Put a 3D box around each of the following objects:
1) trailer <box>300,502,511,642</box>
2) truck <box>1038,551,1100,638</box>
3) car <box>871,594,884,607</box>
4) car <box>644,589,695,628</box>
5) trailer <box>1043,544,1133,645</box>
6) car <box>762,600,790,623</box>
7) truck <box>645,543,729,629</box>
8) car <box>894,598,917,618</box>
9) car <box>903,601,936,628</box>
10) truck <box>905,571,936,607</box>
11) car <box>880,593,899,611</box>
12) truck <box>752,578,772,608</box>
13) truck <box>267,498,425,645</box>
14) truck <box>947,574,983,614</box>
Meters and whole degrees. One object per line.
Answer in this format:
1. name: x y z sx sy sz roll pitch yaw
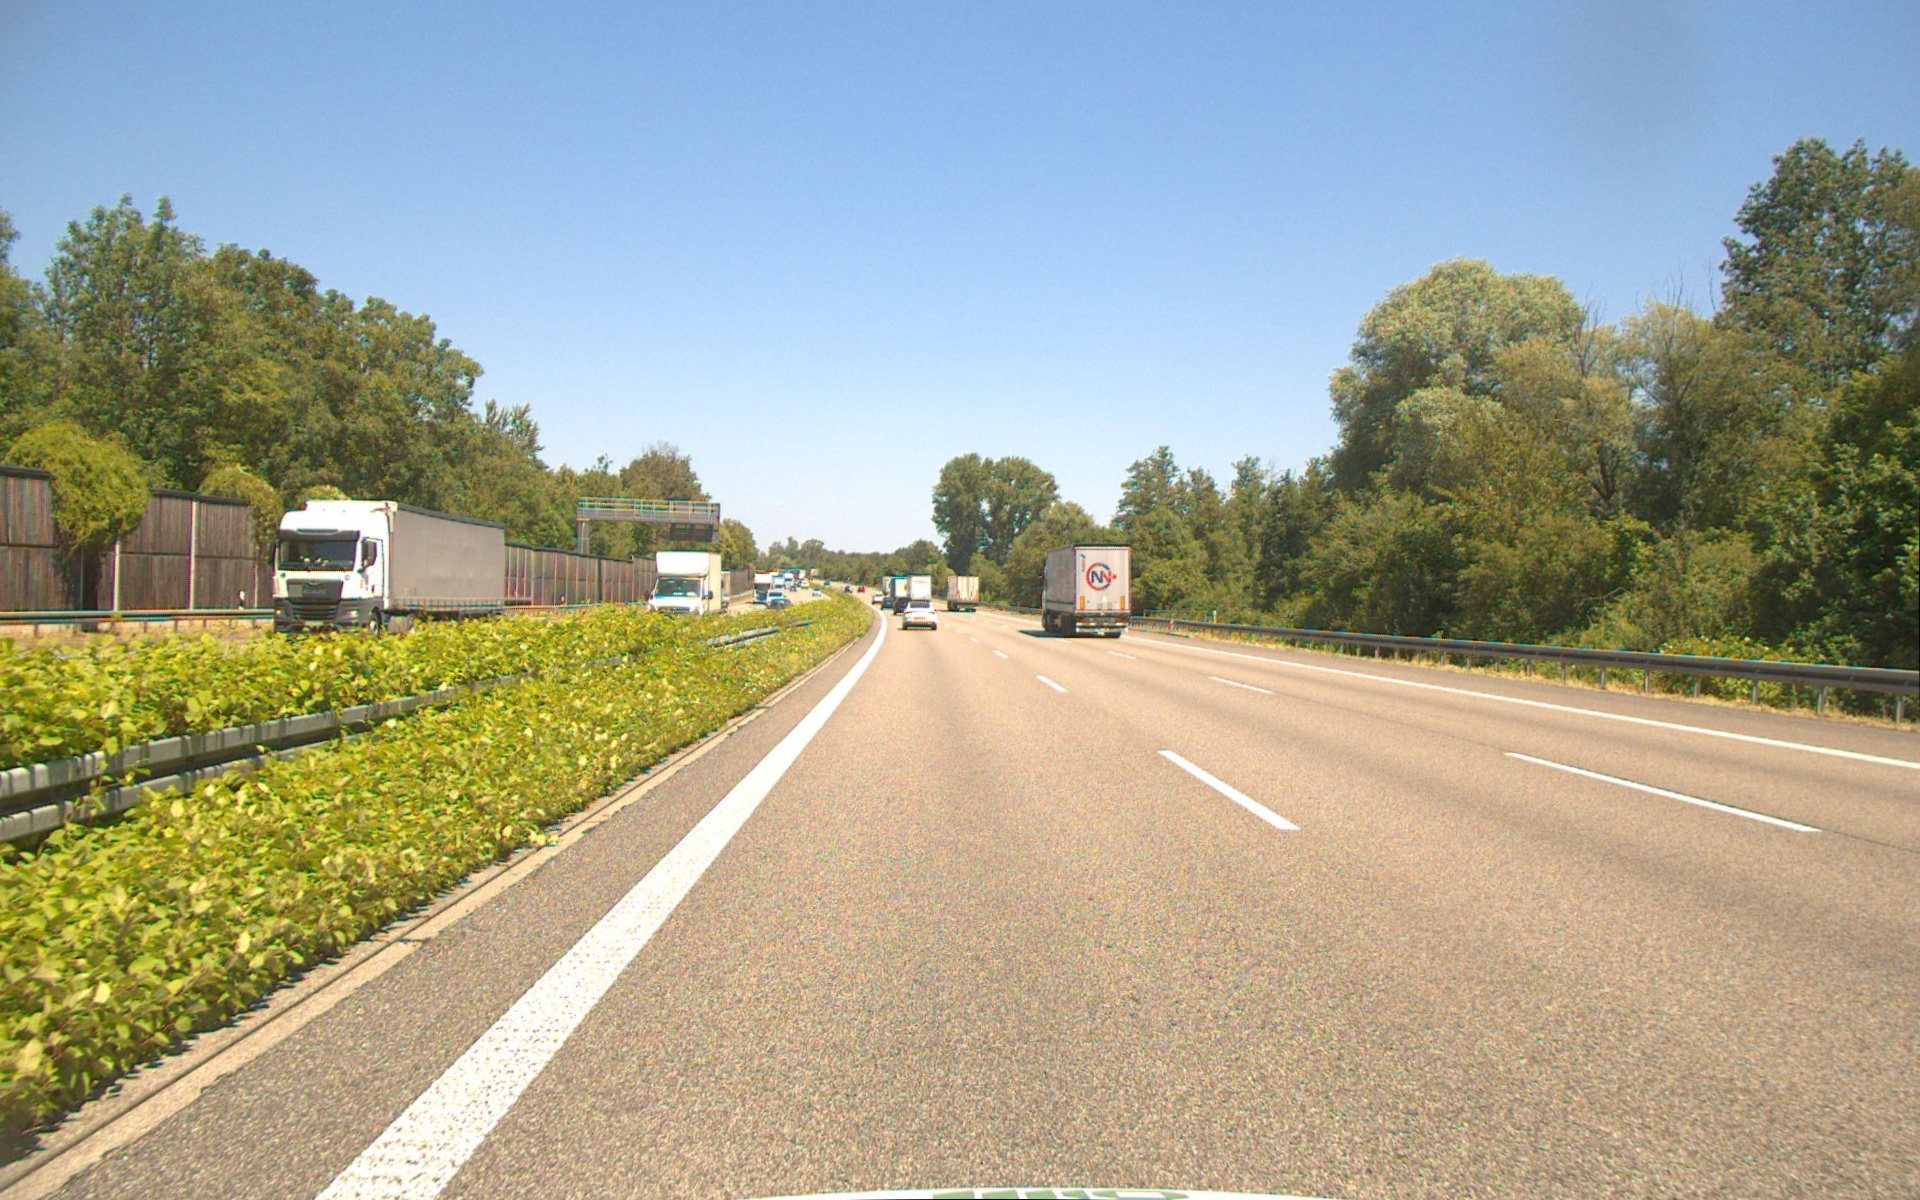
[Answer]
1. trailer: -17.919 -0.820 54.742 2.674 3.978 13.756 1 0 -2
2. truck: 5.625 -0.293 86.018 2.553 4.362 5.433 1 0 -2
3. car: -12.346 0.051 247.185 1.690 1.814 3.996 1 0 -5
4. car: -14.519 0.431 82.903 1.830 1.852 4.815 1 0 -2
5. trailer: 5.933 -0.250 79.263 2.571 4.335 14.053 1 0 -3
6. car: -11.835 0.725 106.526 1.593 1.414 3.911 1 0 -3
7. truck: -10.765 -0.530 65.906 2.149 3.169 8.531 1 0 -2
8. car: -5.042 0.738 153.438 1.954 1.803 3.997 1 0 -4
9. car: -2.142 0.738 87.530 1.681 1.393 3.373 1 0 -2
10. truck: -5.070 -1.371 209.696 3.294 4.386 10.818 1 0 -5
11. car: -8.325 0.276 194.620 1.955 2.049 3.996 1 0 -5
12. truck: -27.745 -0.970 231.705 2.470 4.137 6.365 1 0 -4
13. truck: -17.713 -0.786 48.089 2.632 3.963 5.571 1 0 -2
14. truck: 0.464 -0.717 188.579 3.423 4.386 10.981 1 0 -3
